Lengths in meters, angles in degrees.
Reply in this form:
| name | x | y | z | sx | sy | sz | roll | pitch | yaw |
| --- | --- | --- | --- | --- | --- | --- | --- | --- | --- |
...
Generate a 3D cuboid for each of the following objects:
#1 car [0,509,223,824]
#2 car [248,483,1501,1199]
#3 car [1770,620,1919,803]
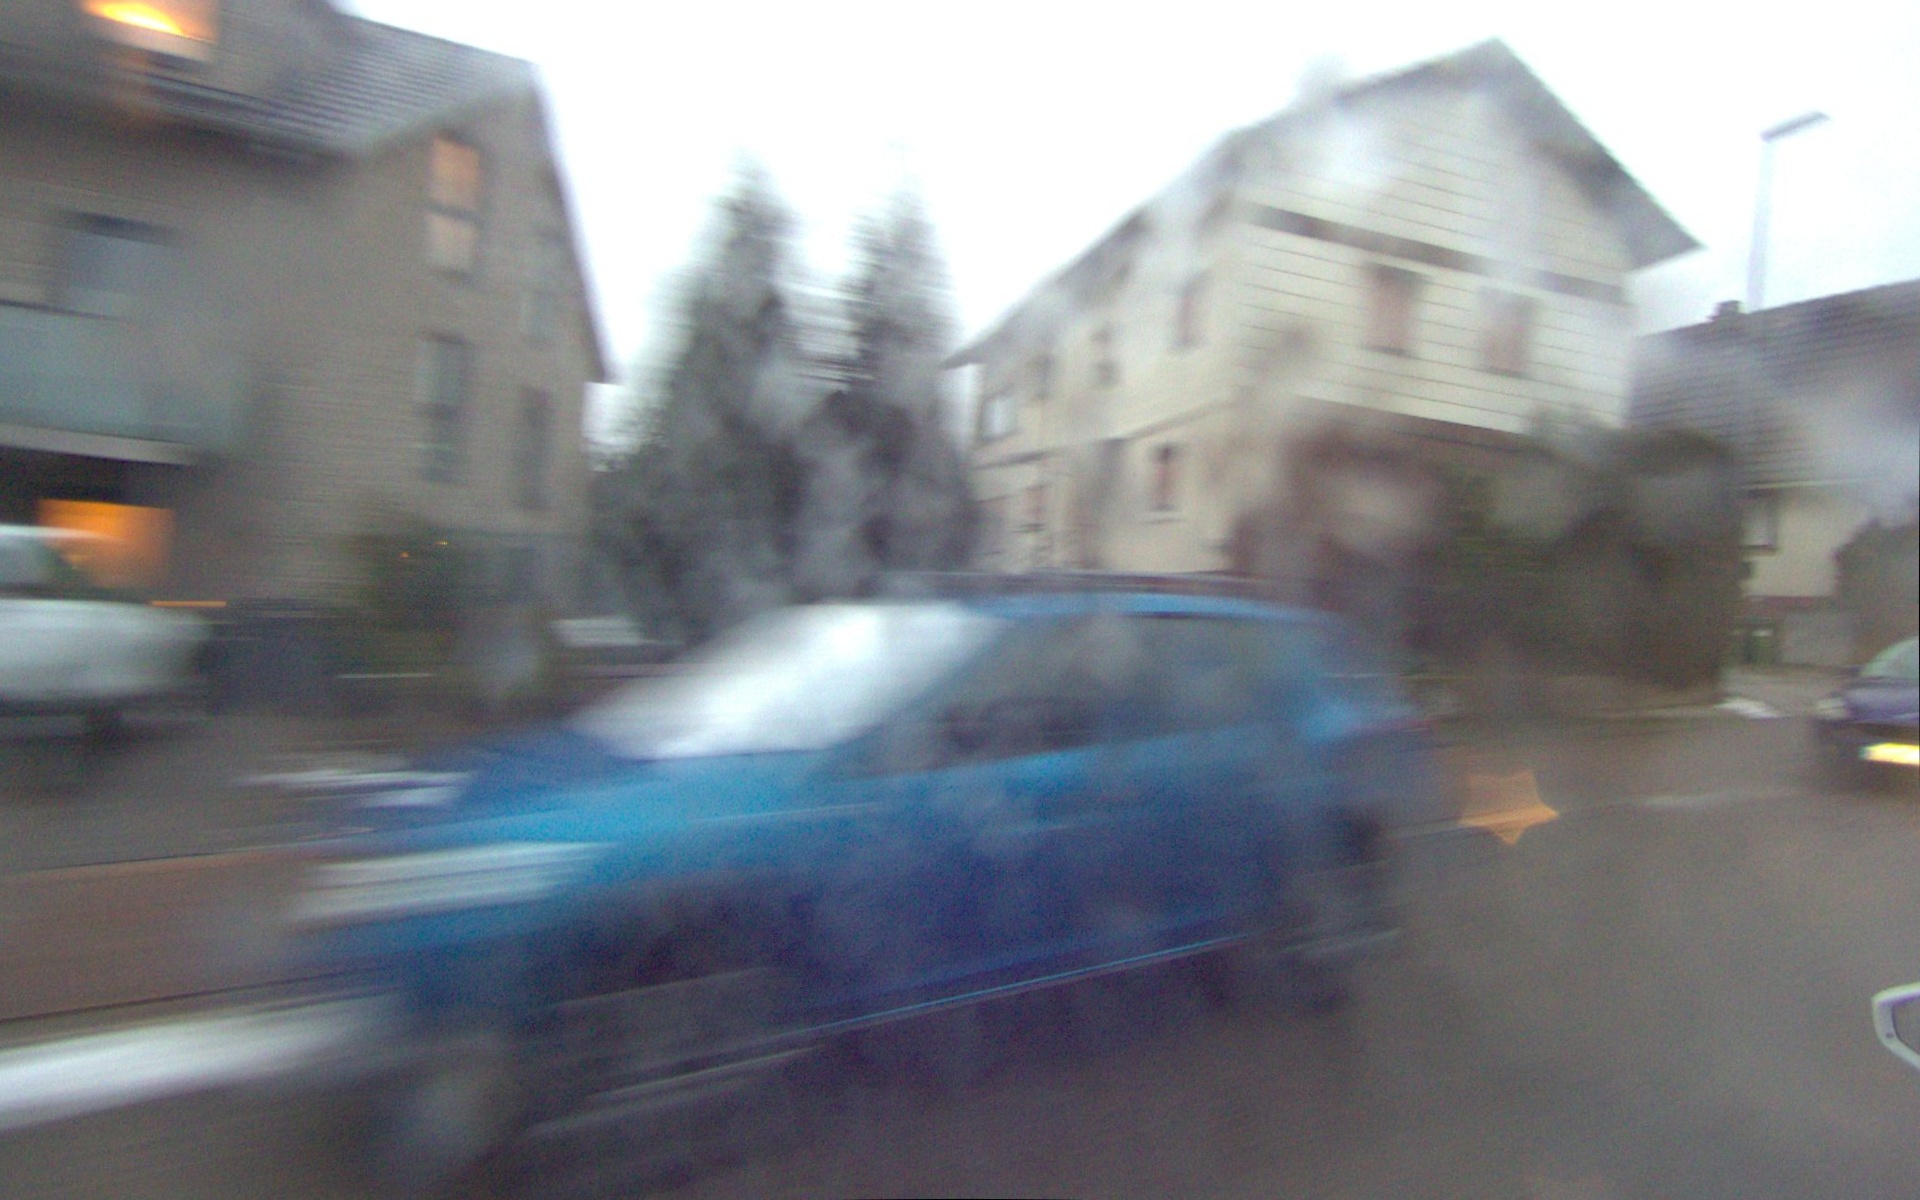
| name | x | y | z | sx | sy | sz | roll | pitch | yaw |
| --- | --- | --- | --- | --- | --- | --- | --- | --- | --- |
| car | -6.478 | 0.280 | 6.451 | 1.861 | 1.639 | 3.978 | 2 | 1 | -22 |
| car | -0.016 | 0.641 | 3.767 | 4.126 | 1.605 | 1.676 | 2 | -1 | -30 |
| car | 9.793 | 0.979 | 9.558 | 4.256 | 1.523 | 1.787 | 1 | -1 | -29 |
